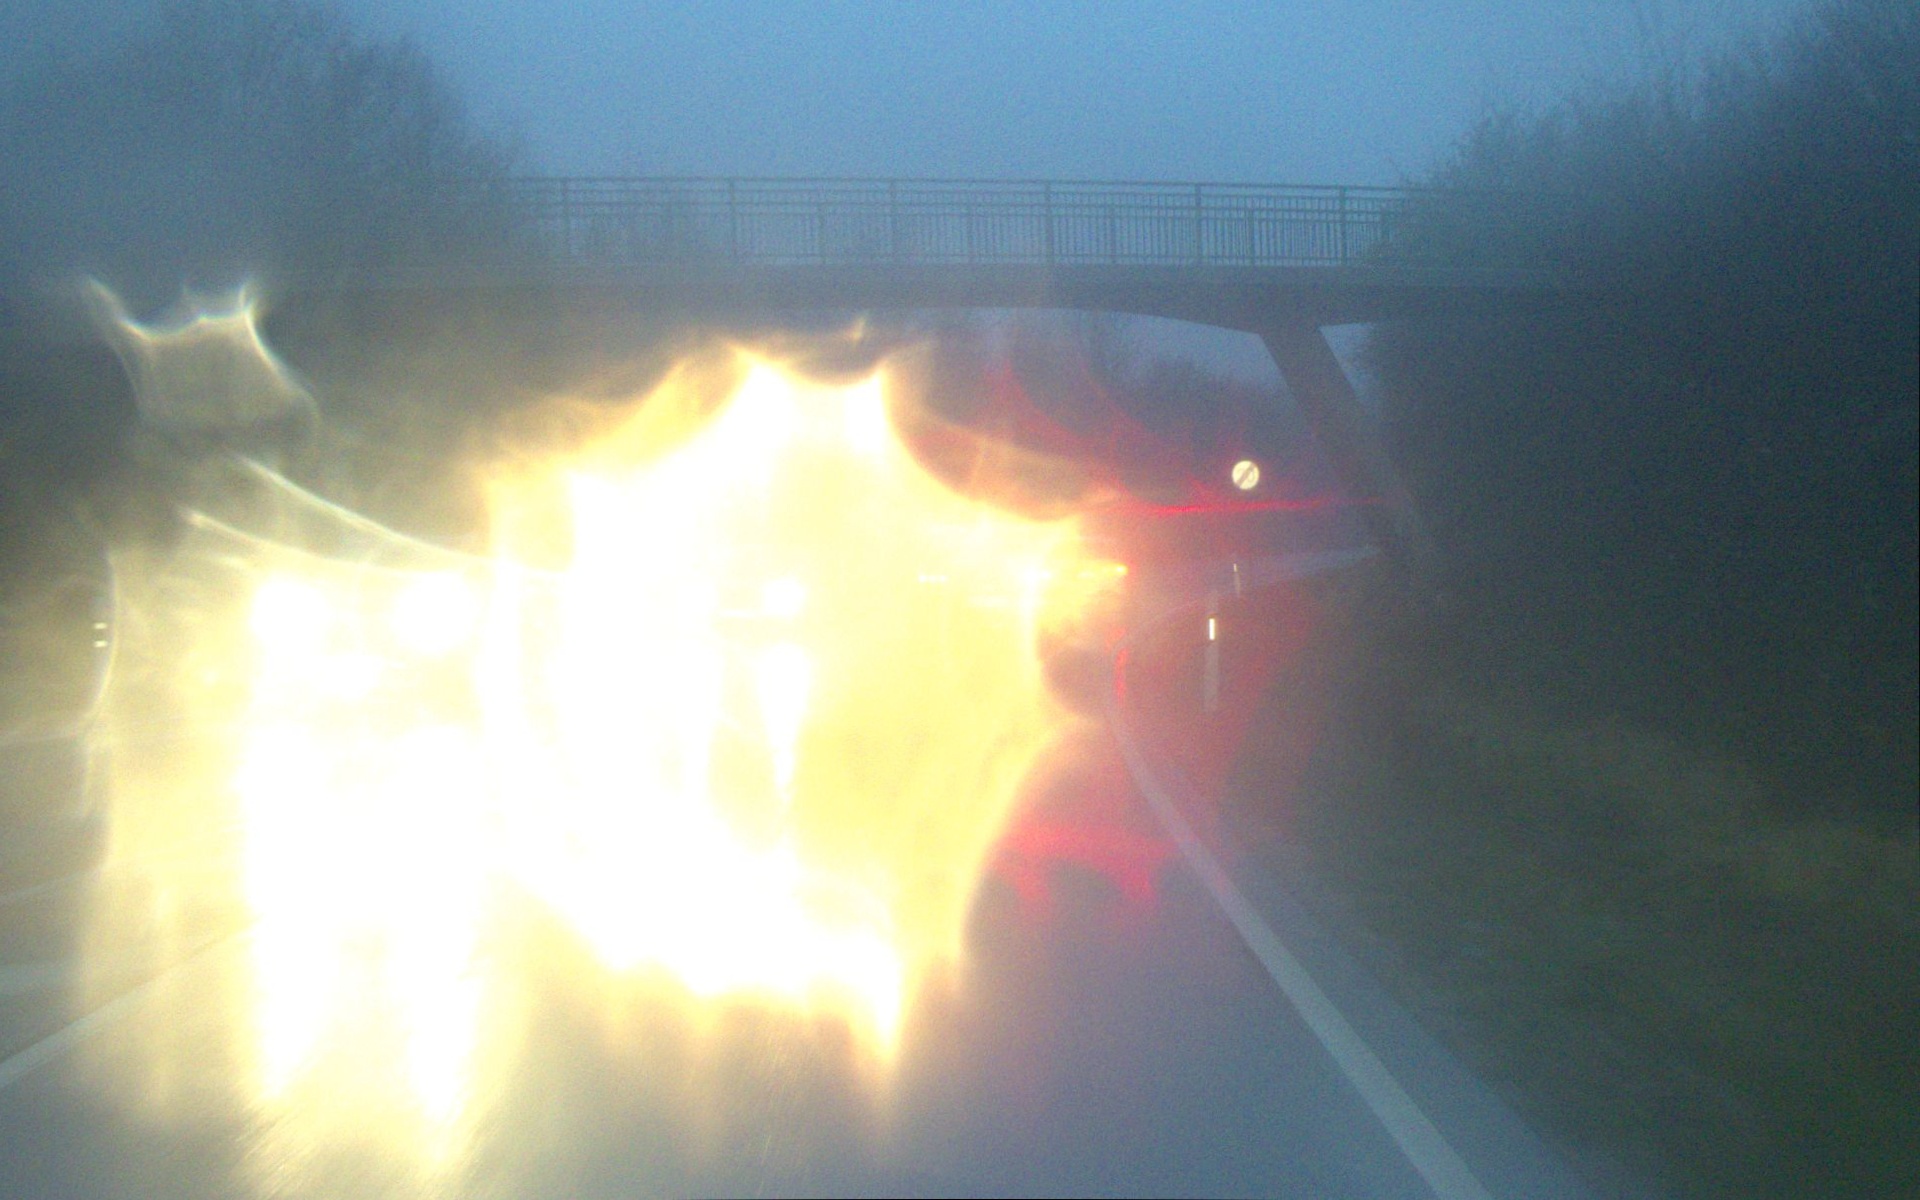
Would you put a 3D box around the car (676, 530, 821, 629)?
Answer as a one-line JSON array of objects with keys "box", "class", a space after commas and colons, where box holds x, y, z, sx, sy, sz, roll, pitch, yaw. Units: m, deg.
[{"box": [-3.204, -0.339, 52.860, 1.804, 1.448, 4.378, 0, 1, 2], "class": "car"}]

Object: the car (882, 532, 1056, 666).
[{"box": [0.151, -0.050, 38.691, 1.679, 1.385, 4.098, -1, 1, 4], "class": "car"}]

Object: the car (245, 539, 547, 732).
[{"box": [-5.100, 0.294, 31.681, 1.860, 1.641, 4.467, -1, 0, 2], "class": "car"}]

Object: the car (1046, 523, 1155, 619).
[{"box": [2.602, -0.552, 63.035, 1.679, 1.669, 4.097, -1, 1, 6], "class": "car"}]
